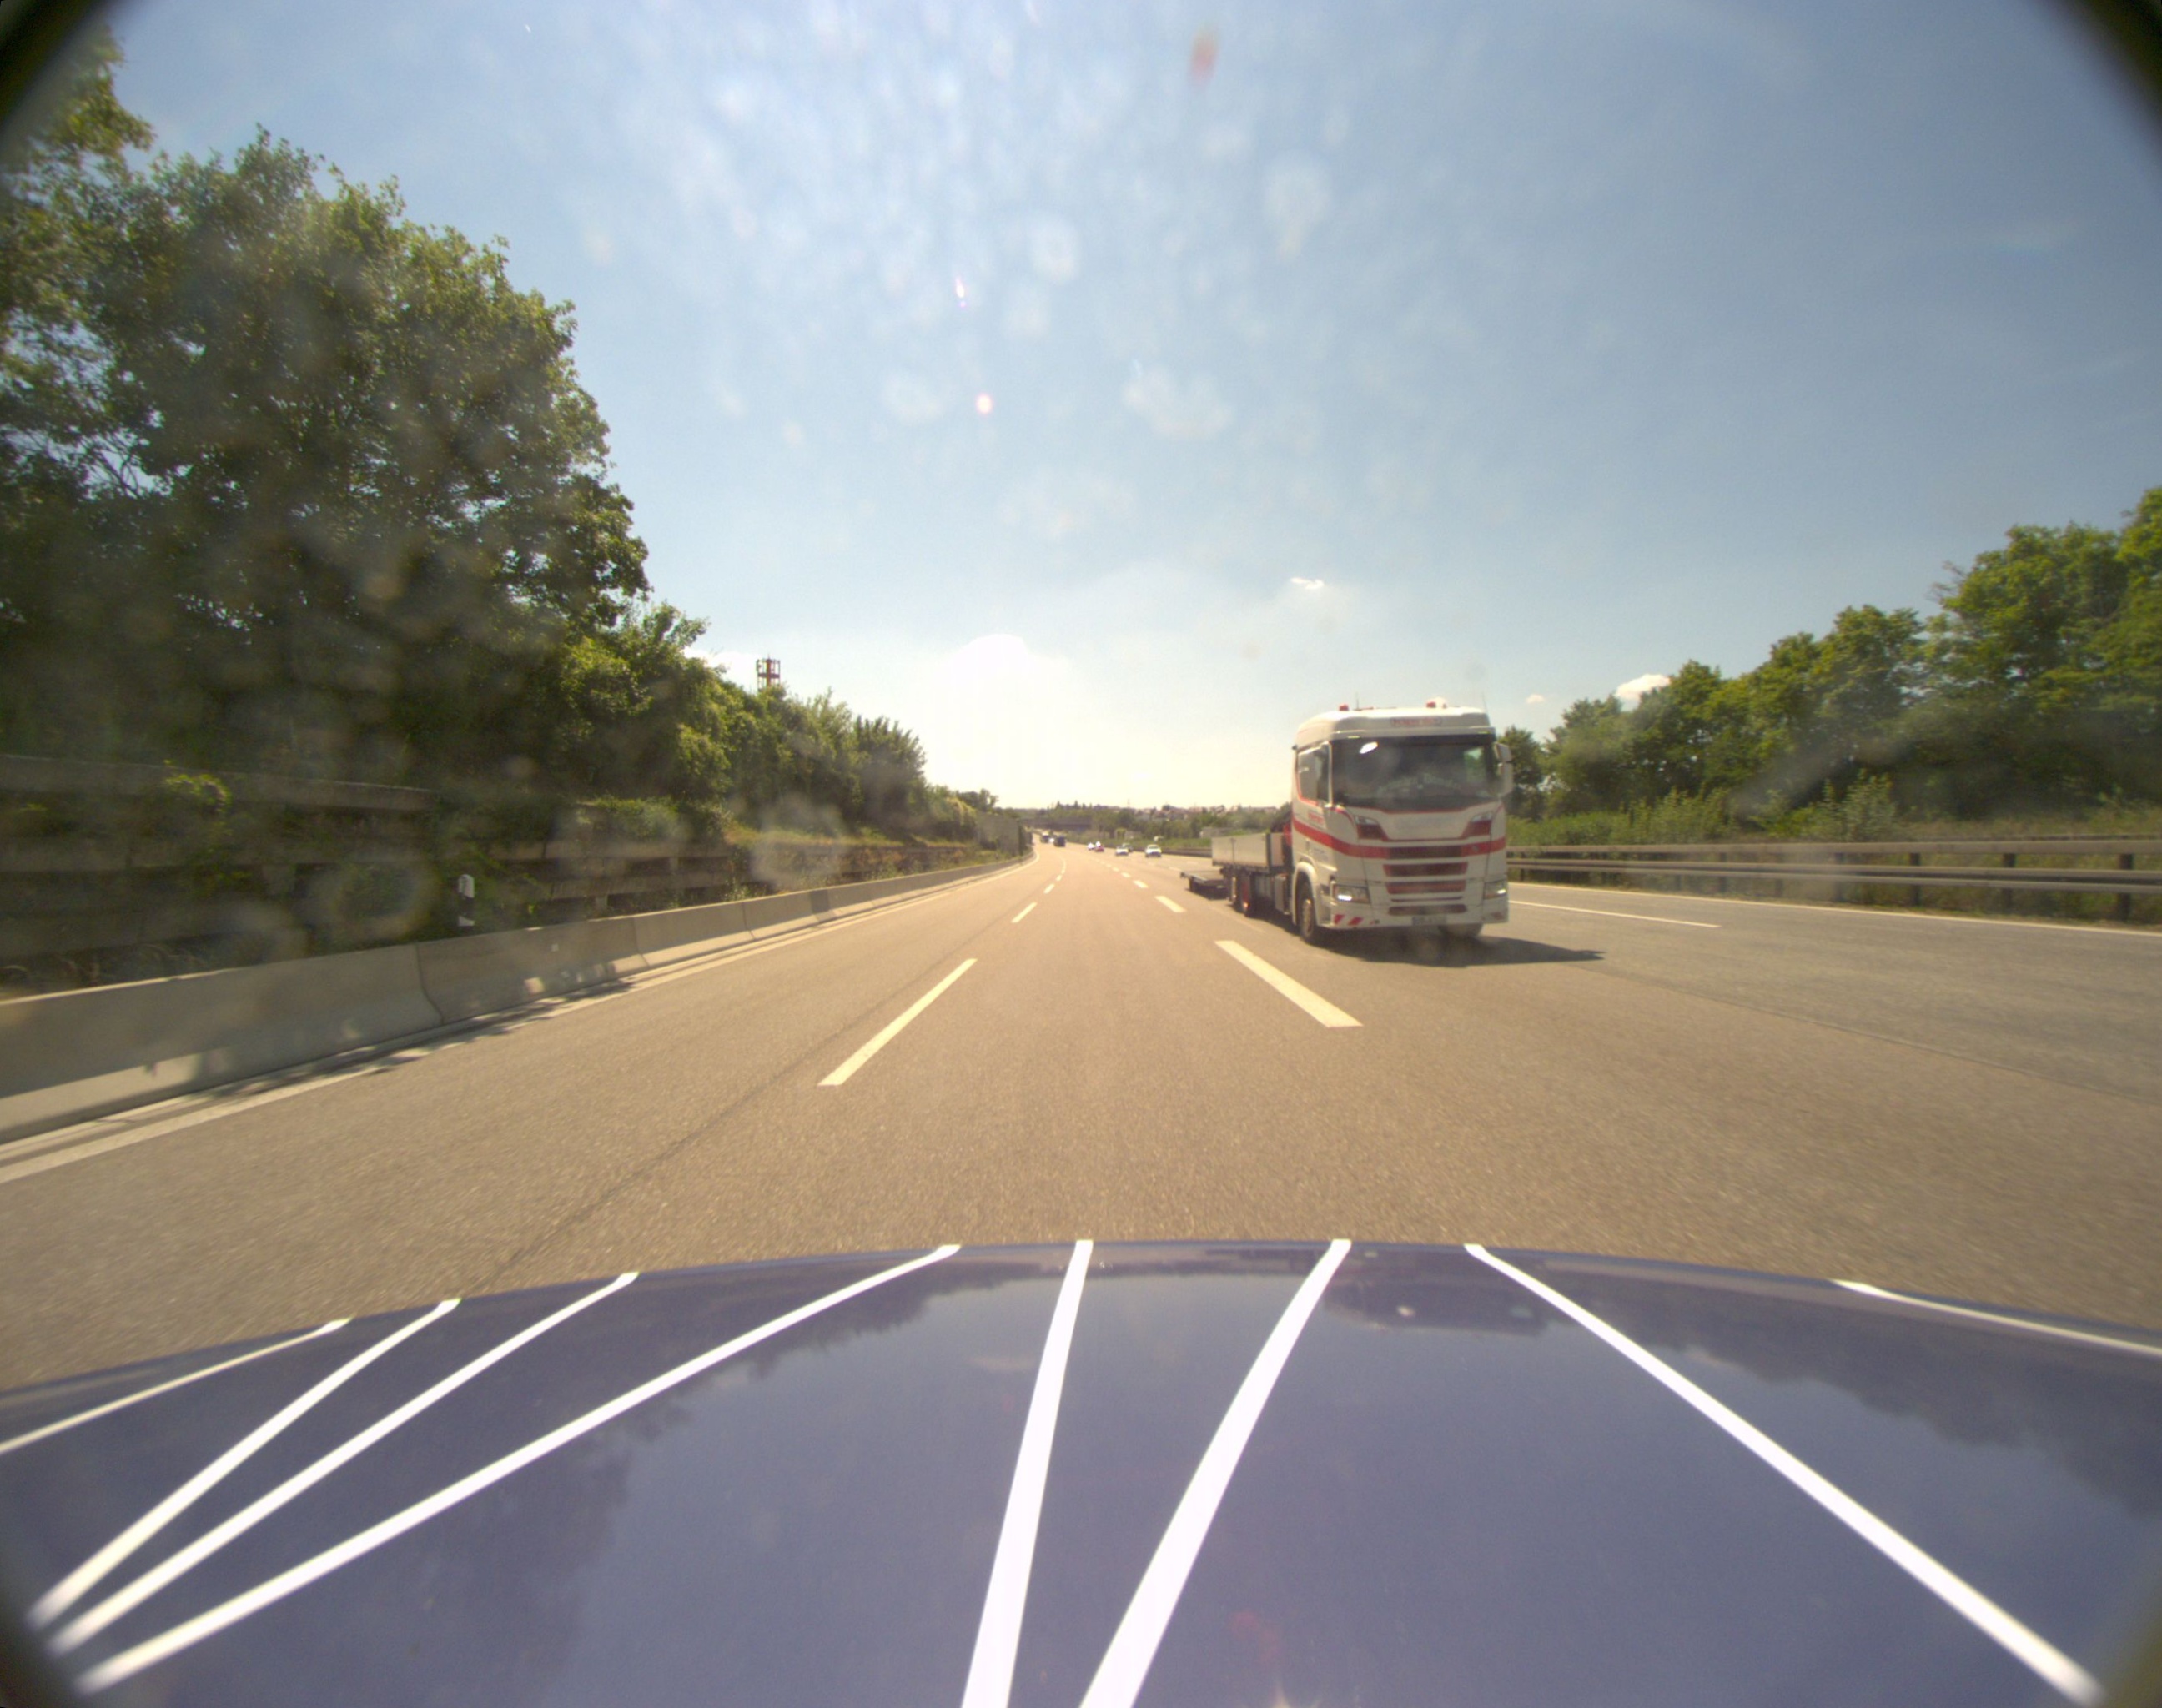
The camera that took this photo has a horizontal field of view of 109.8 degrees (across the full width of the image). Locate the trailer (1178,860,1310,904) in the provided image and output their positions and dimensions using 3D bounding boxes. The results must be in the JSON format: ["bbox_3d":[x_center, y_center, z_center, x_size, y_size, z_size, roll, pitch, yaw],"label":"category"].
[{"bbox_3d":[4.887,0.792,24.361,2.721,0.929,7.759,-2,1,2],"label":"trailer"}]

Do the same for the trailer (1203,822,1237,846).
[{"bbox_3d":[25.203,-3.610,138.923,3.401,4.066,13.923,-2,1,0],"label":"trailer"}]

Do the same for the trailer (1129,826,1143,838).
[{"bbox_3d":[18.743,-7.464,260.253,2.545,3.925,13.712,-2,1,-4],"label":"trailer"}]

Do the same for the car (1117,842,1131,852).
[{"bbox_3d":[6.819,-1.115,121.246,1.786,1.494,4.169,-1,2,-2],"label":"car"}]

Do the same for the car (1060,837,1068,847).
[{"bbox_3d":[-5.581,-3.921,245.177,2.116,3.284,6.440,-2,1,-6],"label":"car"}]

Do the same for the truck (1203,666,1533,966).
[{"bbox_3d":[4.579,-0.539,15.170,2.721,3.780,10.671,-2,1,2],"label":"truck"}]

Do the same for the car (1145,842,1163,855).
[{"bbox_3d":[9.416,-0.690,98.580,1.883,1.543,3.999,-2,1,0],"label":"car"}]

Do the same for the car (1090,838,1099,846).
[{"bbox_3d":[3.184,-2.781,181.855,1.999,1.832,3.998,-2,1,-2],"label":"car"}]

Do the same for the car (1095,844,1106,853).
[{"bbox_3d":[4.096,-1.104,161.731,1.999,1.832,3.998,-2,1,-2],"label":"car"}]
